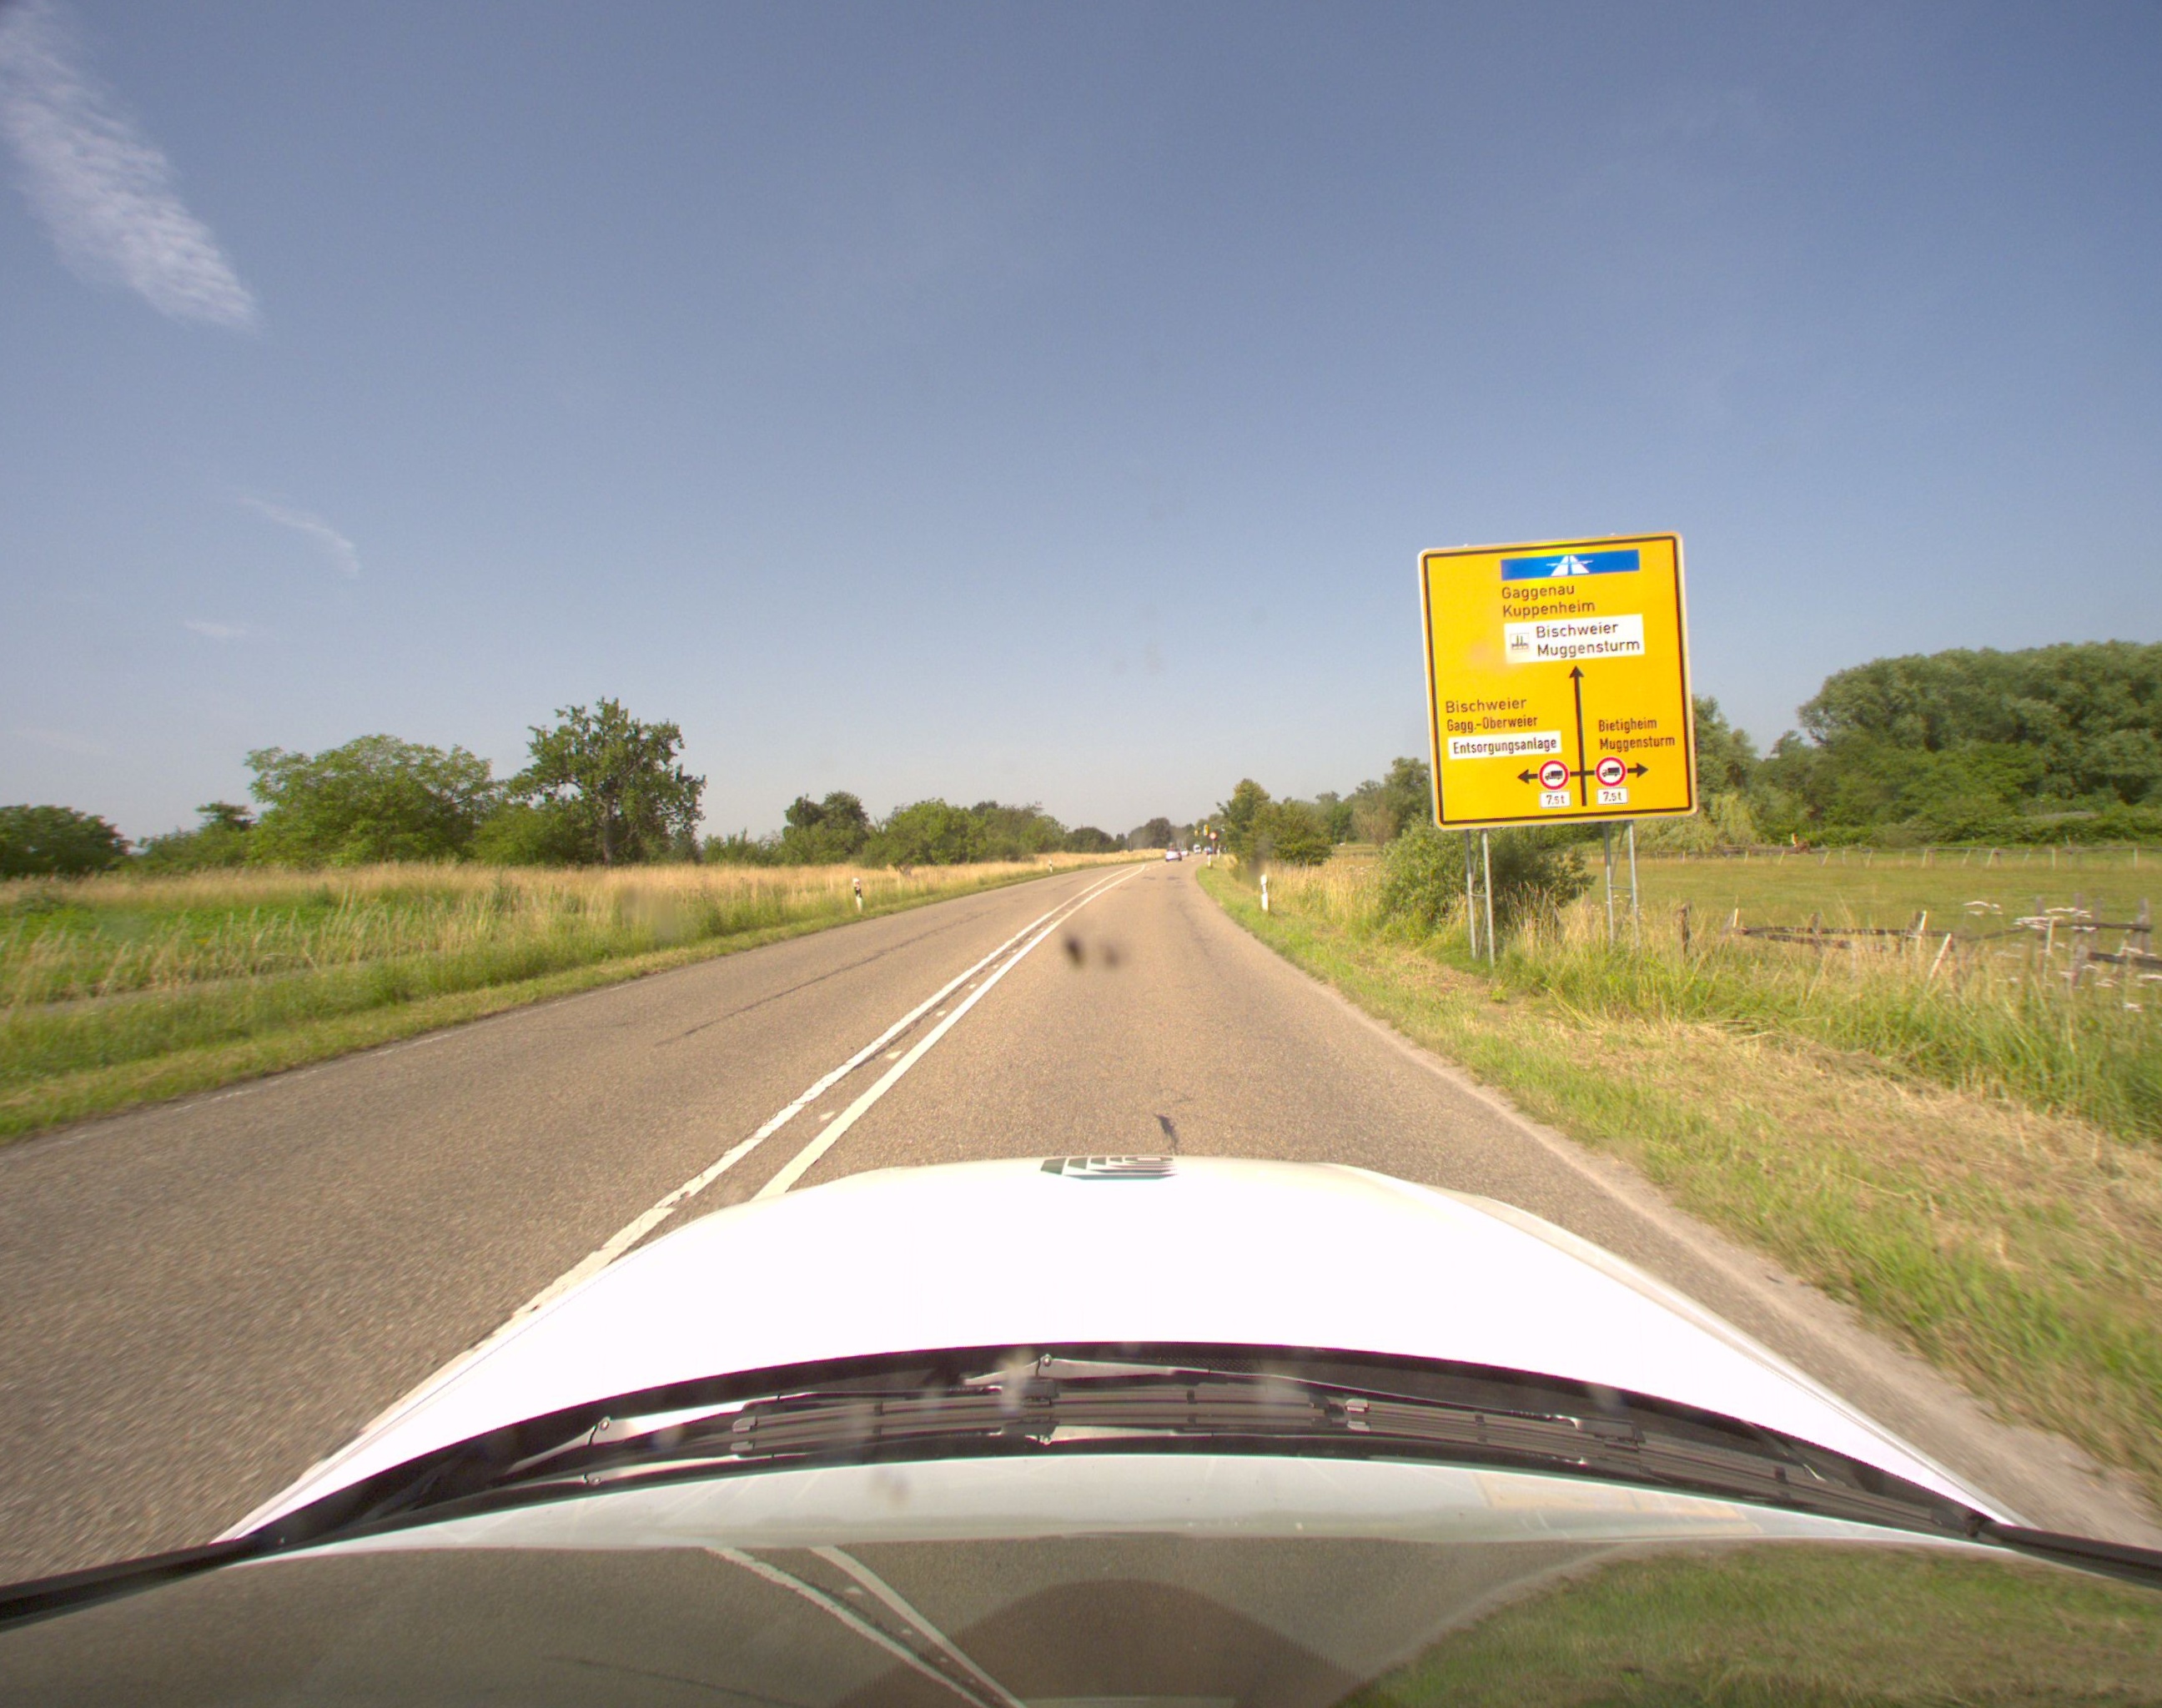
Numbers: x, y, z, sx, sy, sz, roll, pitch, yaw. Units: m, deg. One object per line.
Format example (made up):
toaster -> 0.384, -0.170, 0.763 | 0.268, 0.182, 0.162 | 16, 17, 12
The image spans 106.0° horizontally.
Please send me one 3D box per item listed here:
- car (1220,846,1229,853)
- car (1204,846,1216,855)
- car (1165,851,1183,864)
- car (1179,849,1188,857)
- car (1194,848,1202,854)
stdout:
car -> 33.931, -1.049, 192.434 | 1.831, 1.552, 4.008 | -2, 0, 7
car -> 24.190, -0.723, 152.581 | 1.804, 1.520, 4.013 | -3, 0, 12
car -> 11.198, 0.458, 98.305 | 1.887, 1.512, 4.012 | 0, 0, 10
car -> 21.525, -0.202, 171.156 | 1.802, 1.585, 4.233 | 0, 0, 8
car -> 35.006, -0.914, 243.548 | 1.823, 1.694, 3.872 | -2, 0, 12
